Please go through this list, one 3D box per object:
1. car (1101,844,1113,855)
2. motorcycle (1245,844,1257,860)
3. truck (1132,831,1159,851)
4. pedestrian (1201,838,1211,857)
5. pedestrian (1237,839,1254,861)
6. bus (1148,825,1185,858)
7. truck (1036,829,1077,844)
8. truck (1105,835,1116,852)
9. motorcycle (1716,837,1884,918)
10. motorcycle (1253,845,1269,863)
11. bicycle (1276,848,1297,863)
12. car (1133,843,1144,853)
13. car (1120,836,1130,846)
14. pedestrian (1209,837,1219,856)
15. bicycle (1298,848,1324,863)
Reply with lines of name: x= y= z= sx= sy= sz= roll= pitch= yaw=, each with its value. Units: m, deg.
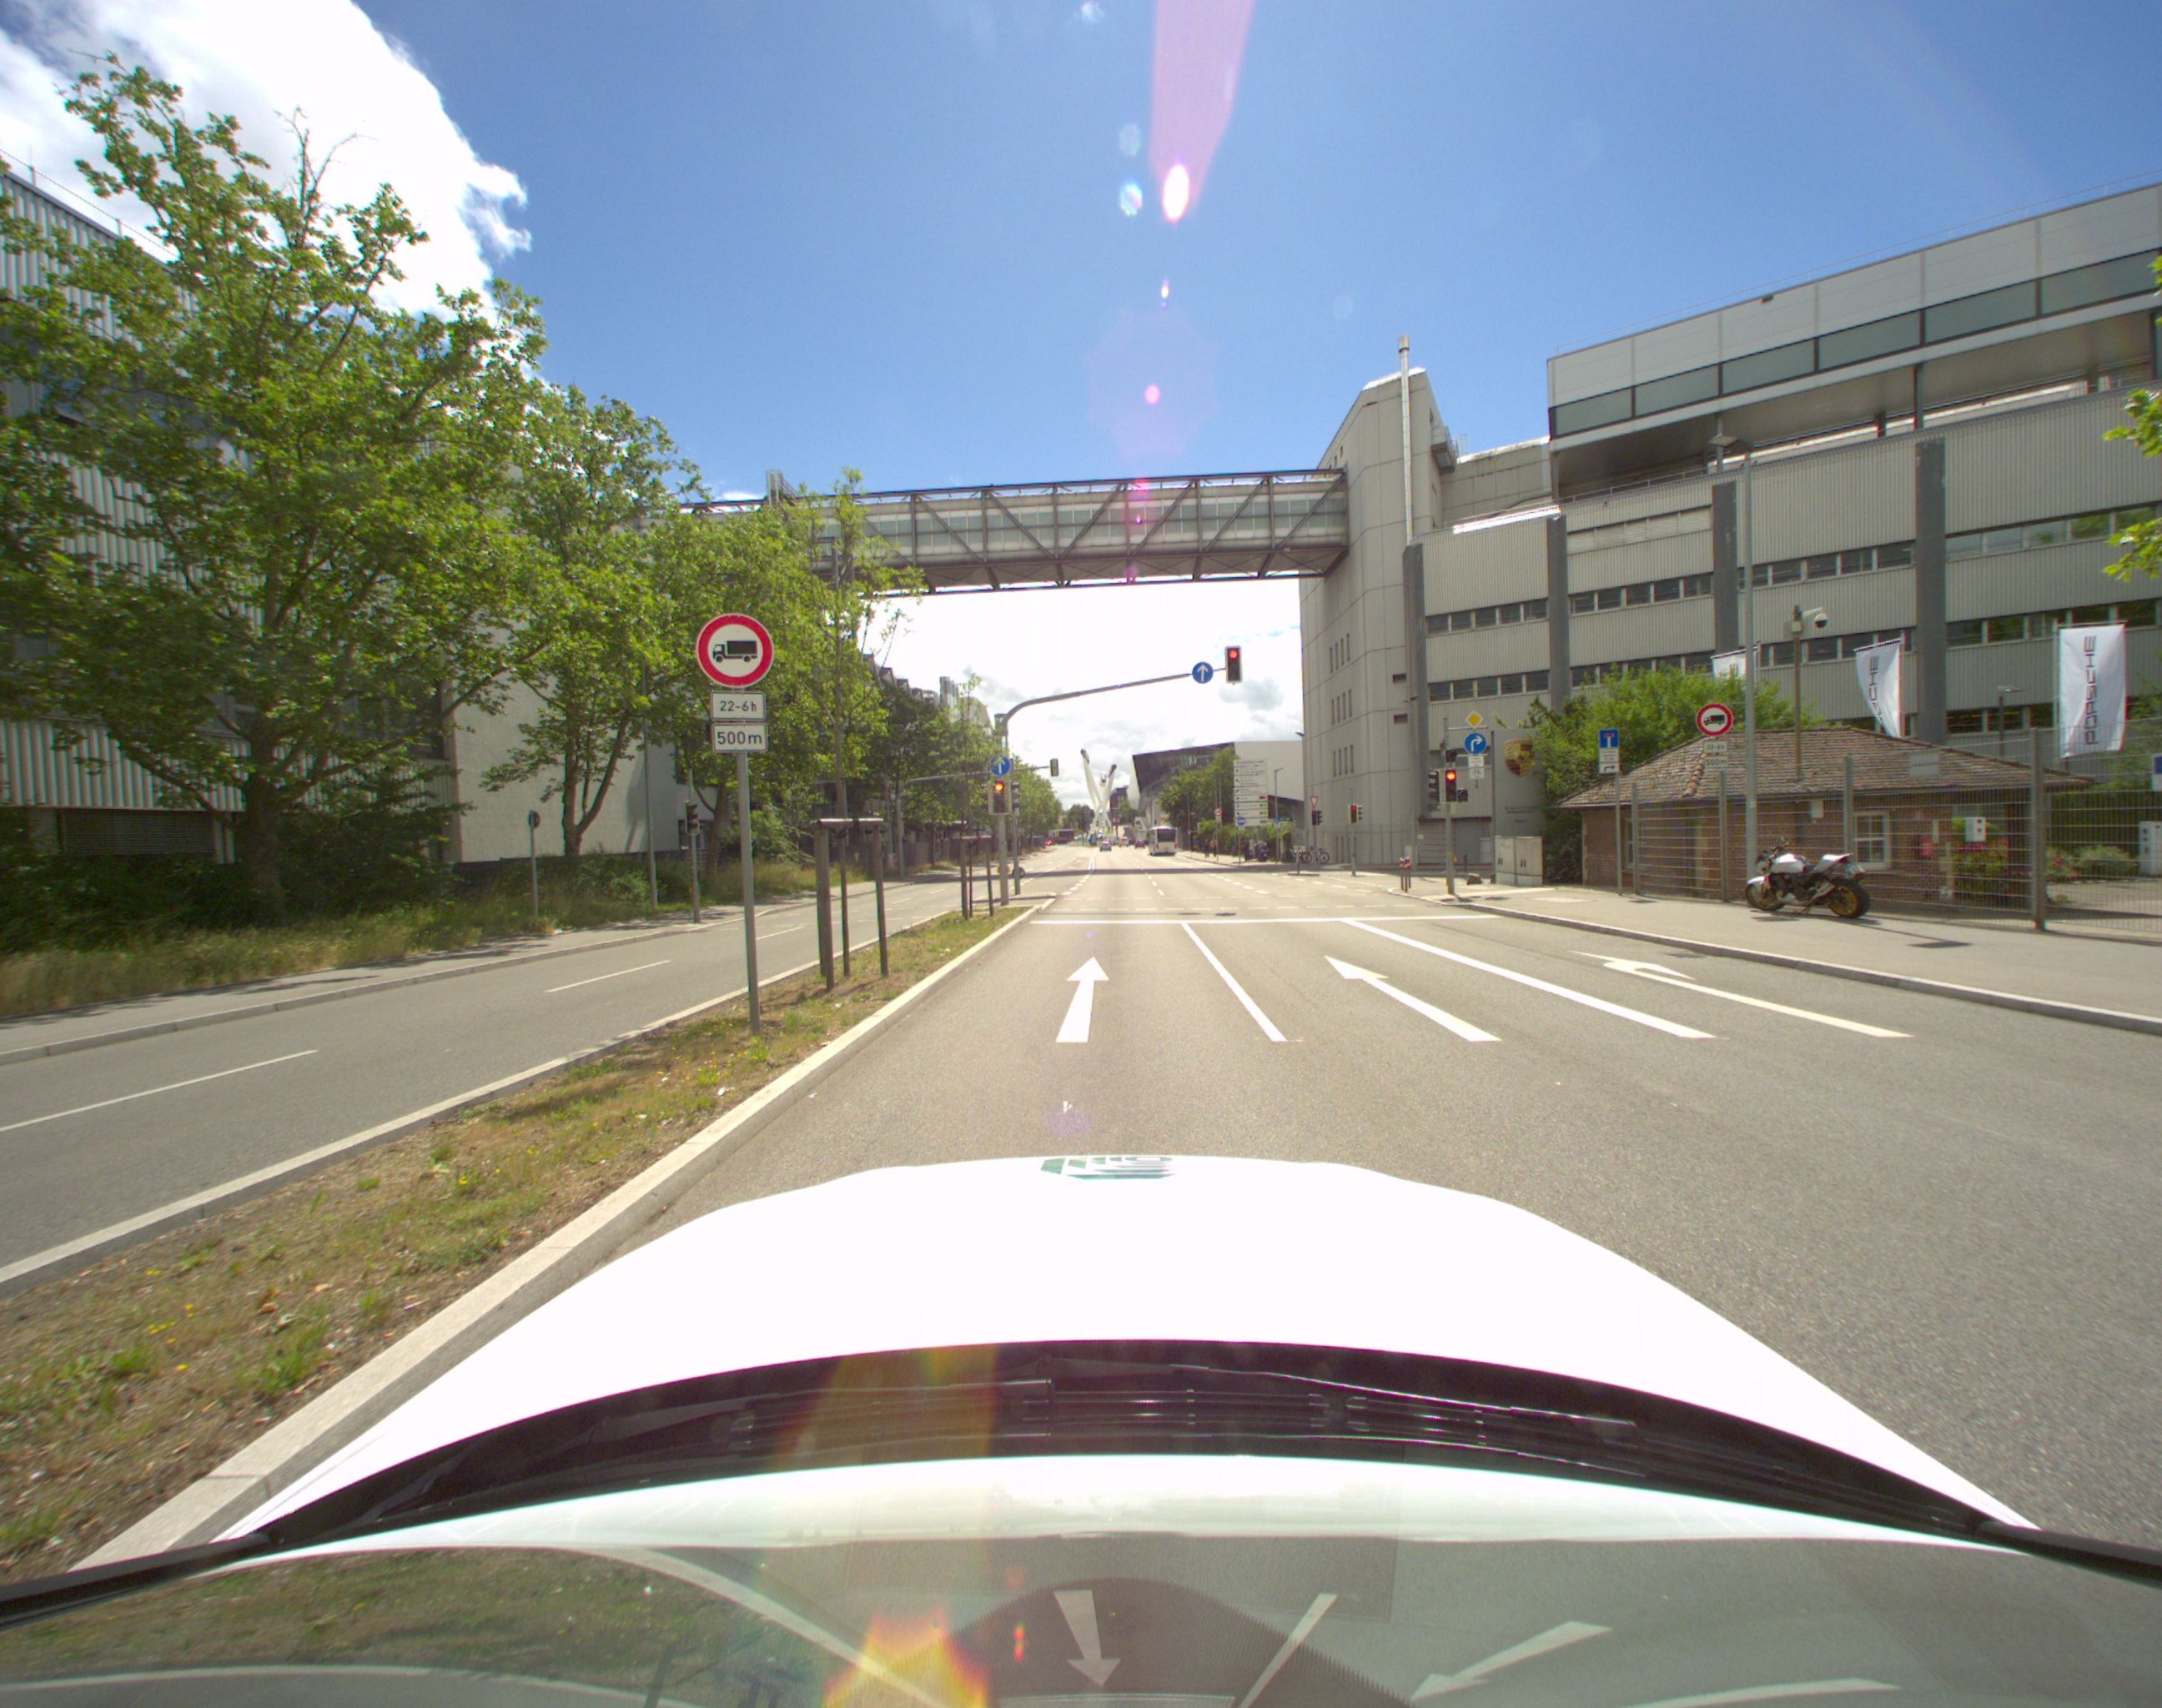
car: x=4.110 y=-0.682 z=128.035 sx=1.731 sy=1.741 sz=3.694 roll=-1 pitch=0 yaw=2
motorcycle: x=13.521 y=-0.179 z=64.853 sx=0.572 sy=1.203 sz=2.025 roll=-3 pitch=1 yaw=2
truck: x=14.598 y=-2.900 z=183.708 sx=3.423 sy=4.391 sz=9.468 roll=-1 pitch=0 yaw=20
pedestrian: x=11.626 y=-0.618 z=75.948 sx=0.817 sy=1.707 sz=0.881 roll=-1 pitch=0 yaw=2
pedestrian: x=12.109 y=-0.290 z=59.869 sx=0.839 sy=1.624 sz=0.962 roll=-1 pitch=0 yaw=43
bus: x=9.990 y=-1.446 z=96.593 sx=3.440 sy=3.543 sz=10.609 roll=-1 pitch=0 yaw=1
truck: x=-7.078 y=-5.064 z=238.557 sx=12.224 sy=4.324 sz=3.534 roll=0 pitch=-1 yaw=-38
truck: x=6.591 y=-2.341 z=183.172 sx=2.383 sy=3.897 sz=6.181 roll=-1 pitch=0 yaw=2
motorcycle: x=11.408 y=0.343 z=13.050 sx=0.691 sy=1.158 sz=2.146 roll=-3 pitch=0 yaw=-2
motorcycle: x=12.625 y=-0.009 z=57.104 sx=0.703 sy=1.203 sz=2.025 roll=-3 pitch=1 yaw=2
bicycle: x=13.416 y=0.074 z=53.150 sx=0.398 sy=0.937 sz=1.918 roll=-1 pitch=0 yaw=-16
car: x=10.335 y=-1.119 z=146.113 sx=1.731 sy=1.741 sz=3.694 roll=-1 pitch=0 yaw=2
car: x=9.030 y=-2.630 z=168.863 sx=1.986 sy=2.014 sz=4.001 roll=0 pitch=-1 yaw=1
pedestrian: x=12.432 y=-0.740 z=75.891 sx=0.817 sy=1.741 sz=0.637 roll=-1 pitch=0 yaw=2
bicycle: x=14.337 y=0.101 z=50.828 sx=0.399 sy=0.937 sz=1.913 roll=-1 pitch=0 yaw=-23
